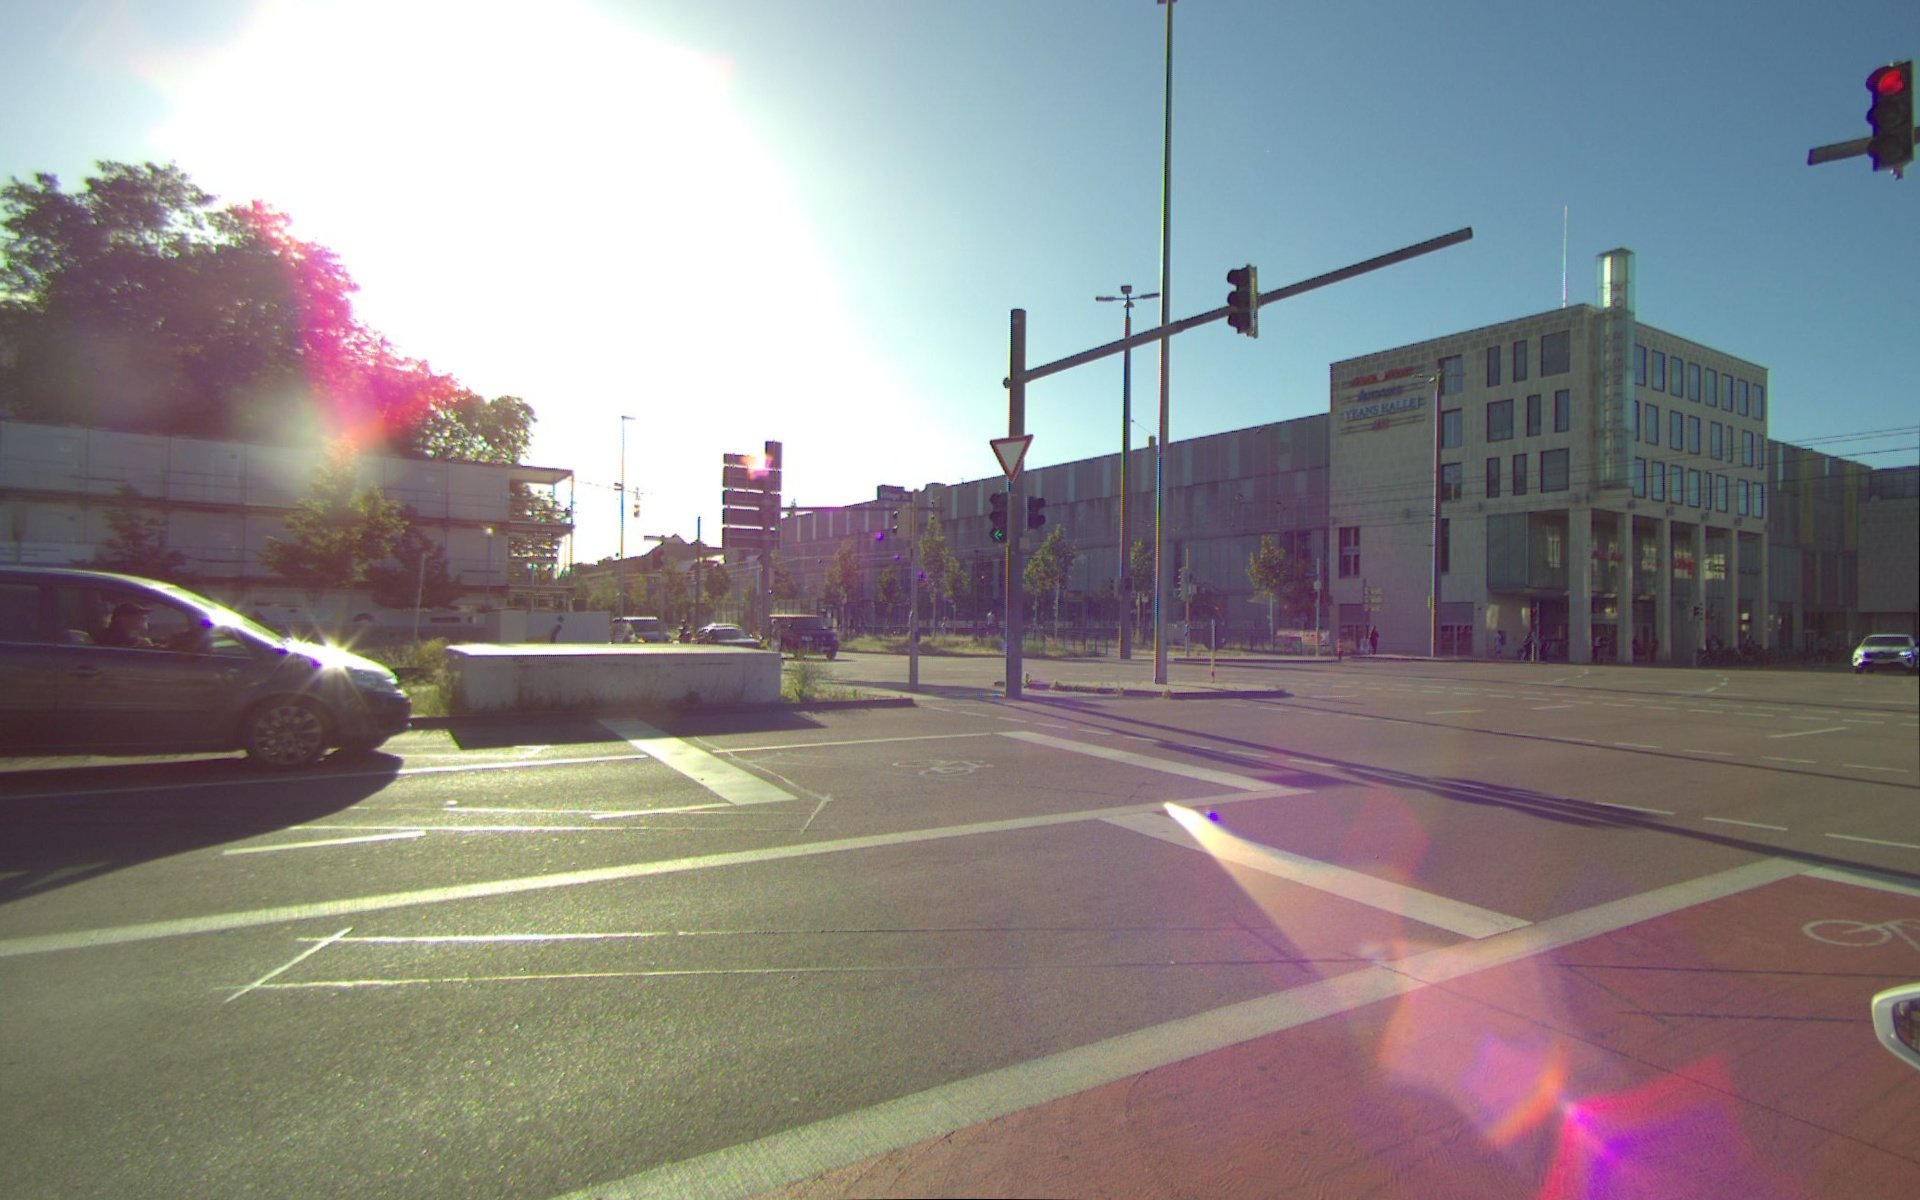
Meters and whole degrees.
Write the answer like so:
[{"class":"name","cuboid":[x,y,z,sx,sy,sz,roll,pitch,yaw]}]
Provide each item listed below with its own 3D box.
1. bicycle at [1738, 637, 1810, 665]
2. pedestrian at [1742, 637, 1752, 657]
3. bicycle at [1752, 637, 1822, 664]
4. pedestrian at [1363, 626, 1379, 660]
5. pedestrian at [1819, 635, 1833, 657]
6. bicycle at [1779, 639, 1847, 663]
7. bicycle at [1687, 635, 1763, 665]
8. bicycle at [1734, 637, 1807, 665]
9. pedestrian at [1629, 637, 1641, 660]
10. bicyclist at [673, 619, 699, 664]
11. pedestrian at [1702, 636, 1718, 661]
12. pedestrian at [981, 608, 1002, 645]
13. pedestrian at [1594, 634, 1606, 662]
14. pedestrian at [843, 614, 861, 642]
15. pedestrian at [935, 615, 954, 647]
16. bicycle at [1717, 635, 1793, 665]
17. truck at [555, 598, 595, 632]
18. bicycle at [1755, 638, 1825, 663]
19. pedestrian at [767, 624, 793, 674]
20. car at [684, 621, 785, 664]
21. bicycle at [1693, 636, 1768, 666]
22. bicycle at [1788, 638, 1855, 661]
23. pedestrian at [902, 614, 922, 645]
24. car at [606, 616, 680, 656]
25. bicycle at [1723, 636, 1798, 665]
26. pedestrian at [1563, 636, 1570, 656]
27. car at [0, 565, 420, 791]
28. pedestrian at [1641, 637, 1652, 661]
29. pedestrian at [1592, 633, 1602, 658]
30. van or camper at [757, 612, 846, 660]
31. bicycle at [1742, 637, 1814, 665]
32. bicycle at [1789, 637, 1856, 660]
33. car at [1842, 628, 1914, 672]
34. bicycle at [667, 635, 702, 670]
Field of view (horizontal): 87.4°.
[{"class":"bicycle","cuboid":[51.954,3.230,64.160,0.979,1.719,3.462,1,-2,-40]},{"class":"pedestrian","cuboid":[60.364,3.596,77.058,0.630,1.454,0.474,0,-1,38]},{"class":"bicycle","cuboid":[54.514,3.323,66.254,0.979,1.719,3.462,1,-2,-40]},{"class":"pedestrian","cuboid":[21.011,2.215,51.364,0.542,1.716,0.523,1,-1,-32]},{"class":"pedestrian","cuboid":[66.430,3.510,77.039,0.689,1.664,0.648,1,-1,-38]},{"class":"bicycle","cuboid":[58.883,3.482,69.390,0.979,1.547,3.462,2,-2,-40]},{"class":"bicycle","cuboid":[45.707,2.979,60.034,1.107,1.719,3.465,1,-2,-38]},{"class":"bicycle","cuboid":[51.128,3.193,63.425,0.979,1.719,3.462,1,-2,-40]},{"class":"pedestrian","cuboid":[44.281,3.190,65.920,0.508,1.530,0.508,1,-1,-34]},{"class":"bicyclist","cuboid":[-16.574,2.470,60.694,1.007,2.677,1.610,1,-1,-34]},{"class":"pedestrian","cuboid":[50.058,3.238,67.049,0.690,1.664,0.776,2,-2,-44]},{"class":"pedestrian","cuboid":[1.592,1.317,50.597,0.788,1.855,0.706,1,-1,-37]},{"class":"pedestrian","cuboid":[37.775,2.823,59.298,0.534,1.664,0.548,0,-1,40]},{"class":"pedestrian","cuboid":[-7.063,1.830,65.823,0.889,1.855,0.787,1,-1,-35]},{"class":"pedestrian","cuboid":[-0.921,1.826,59.664,0.889,1.855,0.787,1,-1,-35]},{"class":"bicycle","cuboid":[48.223,3.015,60.940,1.107,1.719,3.465,1,-2,-38]},{"class":"truck","cuboid":[-33.469,1.330,87.256,1.979,2.875,6.293,1,-2,-33]},{"class":"bicycle","cuboid":[55.265,3.332,66.922,0.979,1.547,3.462,2,-2,-40]},{"class":"pedestrian","cuboid":[-6.194,1.681,34.547,0.619,1.674,0.935,1,-1,-30]},{"class":"car","cuboid":[-9.390,1.706,41.517,2.313,1.671,4.821,1,-2,-37]},{"class":"bicycle","cuboid":[46.640,3.061,60.842,1.107,1.719,3.465,1,-2,-38]},{"class":"bicycle","cuboid":[60.390,3.437,70.472,0.979,1.547,3.462,2,-2,-40]},{"class":"pedestrian","cuboid":[-2.887,1.751,60.150,0.889,1.855,0.787,1,-1,-35]},{"class":"car","cuboid":[-15.567,1.724,49.162,1.981,1.849,4.821,1,-2,-36]},{"class":"bicycle","cuboid":[49.152,3.082,61.741,1.107,1.719,3.465,1,-2,-38]},{"class":"pedestrian","cuboid":[43.481,3.312,72.035,0.381,1.431,0.436,0,-1,35]},{"class":"car","cuboid":[-7.032,0.563,8.342,4.428,1.628,1.984,1,0,-30]},{"class":"pedestrian","cuboid":[45.035,3.227,65.887,0.508,1.530,0.479,1,-1,-34]},{"class":"pedestrian","cuboid":[41.078,2.913,64.773,0.493,1.606,0.426,1,-1,-34]},{"class":"van or camper","cuboid":[-7.251,1.596,45.642,1.981,2.040,4.821,1,-2,-36]},{"class":"bicycle","cuboid":[52.868,3.261,64.964,0.979,1.719,3.462,1,-2,-40]},{"class":"bicycle","cuboid":[61.197,3.454,71.303,0.979,1.547,3.462,2,-2,-40]},{"class":"car","cuboid":[37.257,2.007,40.861,1.971,1.682,4.384,-1,-2,41]},{"class":"bicycle","cuboid":[-16.719,3.154,60.839,1.007,2.040,3.472,1,-2,-33]}]
